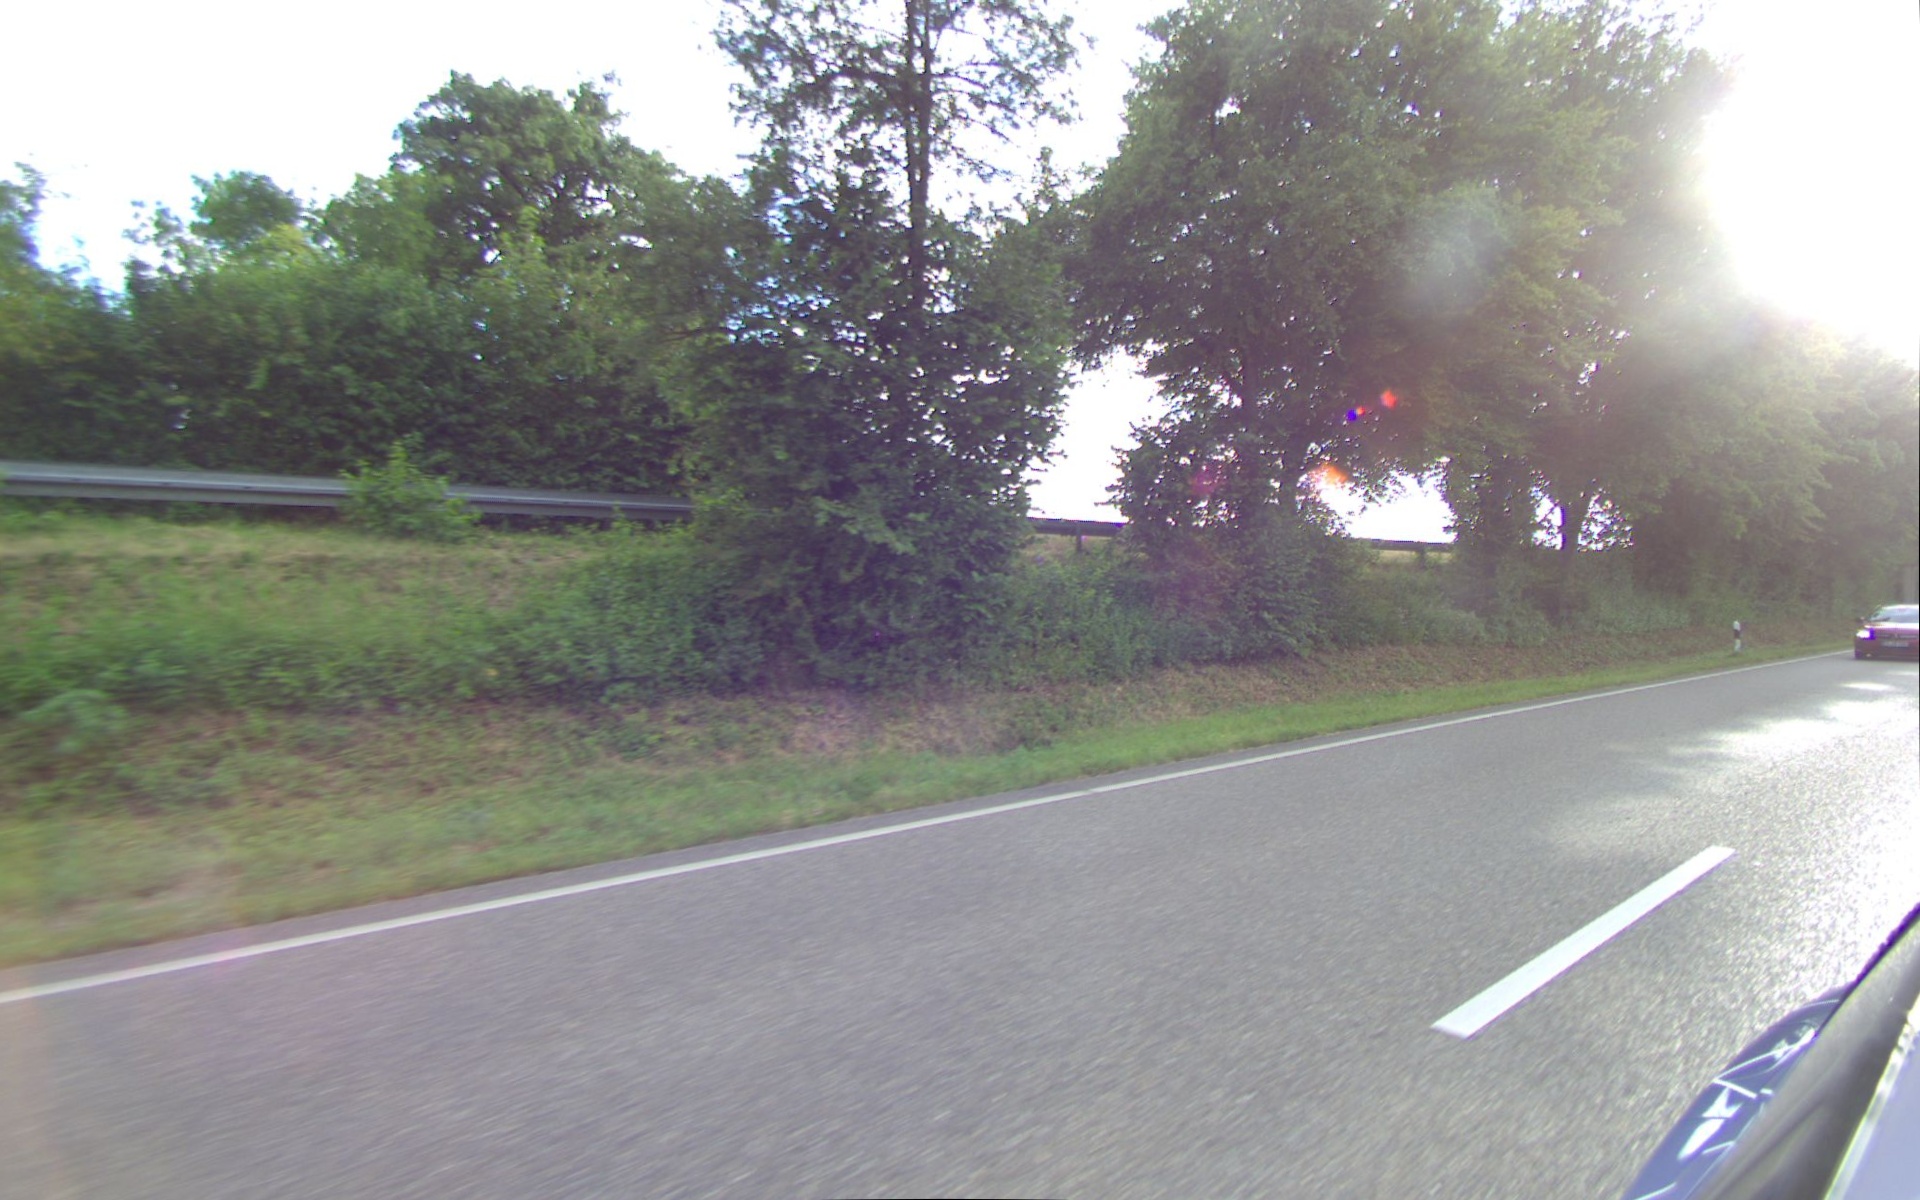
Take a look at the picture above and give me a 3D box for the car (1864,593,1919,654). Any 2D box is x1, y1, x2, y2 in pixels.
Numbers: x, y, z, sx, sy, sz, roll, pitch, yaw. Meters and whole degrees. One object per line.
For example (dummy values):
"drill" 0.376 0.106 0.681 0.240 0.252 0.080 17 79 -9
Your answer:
"car" 25.157 0.613 26.444 3.660 1.494 1.723 1 1 -39
